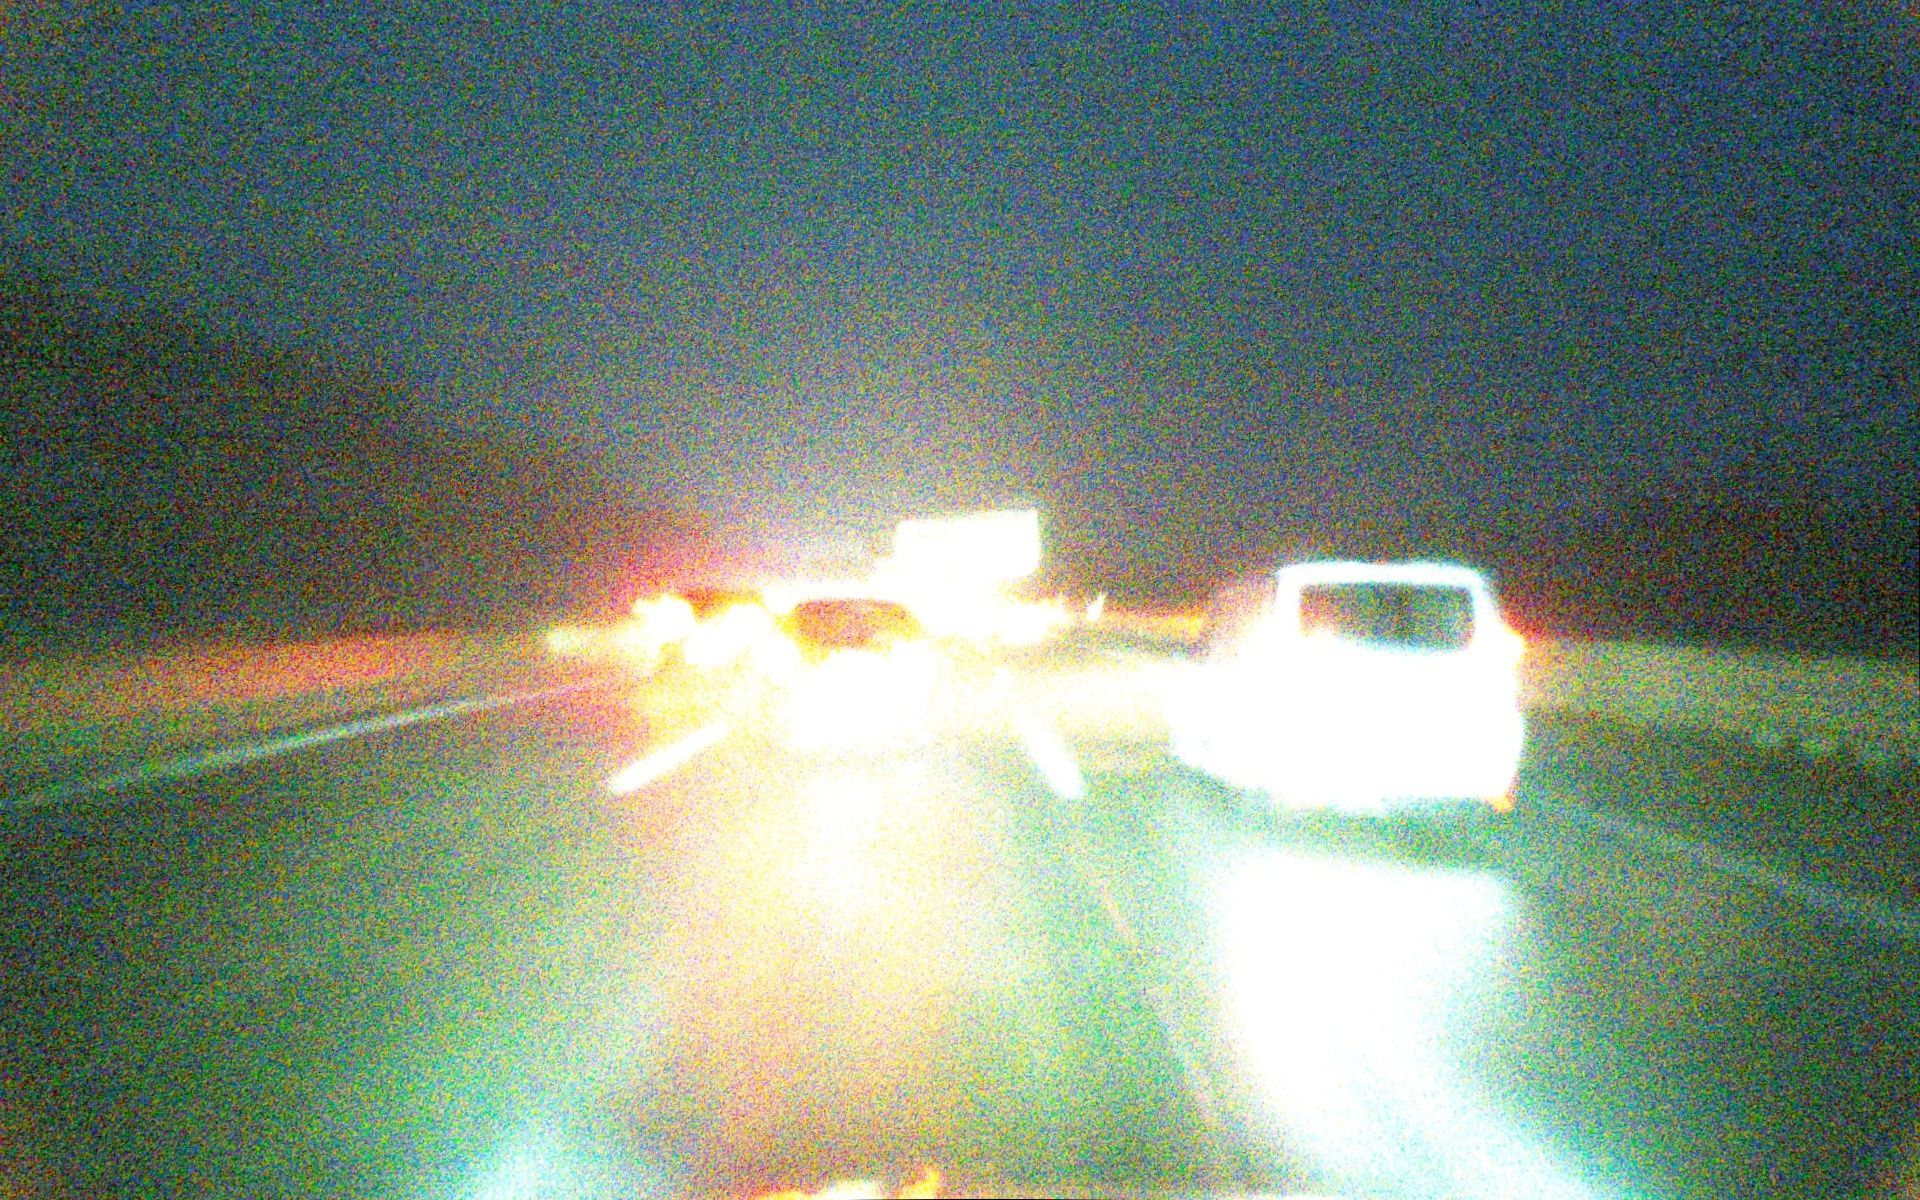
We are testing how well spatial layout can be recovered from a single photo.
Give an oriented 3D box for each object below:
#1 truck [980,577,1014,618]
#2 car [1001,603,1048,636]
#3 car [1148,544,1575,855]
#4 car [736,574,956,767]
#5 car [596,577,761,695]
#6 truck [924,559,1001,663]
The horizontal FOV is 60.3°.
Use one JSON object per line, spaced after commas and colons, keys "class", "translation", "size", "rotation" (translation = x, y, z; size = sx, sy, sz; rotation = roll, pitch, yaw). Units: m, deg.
{"class": "truck", "translation": [4.821, -0.201, 218.598], "size": [3.747, 5.000, 11.603], "rotation": [-4, -1, -1]}
{"class": "car", "translation": [2.868, 0.853, 74.207], "size": [1.851, 1.378, 3.999], "rotation": [2, 0, -1]}
{"class": "car", "translation": [2.733, 0.578, 12.600], "size": [1.913, 1.823, 5.124], "rotation": [-2, 1, -1]}
{"class": "car", "translation": [-1.010, 0.641, 16.615], "size": [1.877, 1.622, 4.232], "rotation": [-2, -1, 0]}
{"class": "car", "translation": [-4.758, 0.602, 28.684], "size": [1.953, 1.808, 4.886], "rotation": [-2, -1, 0]}
{"class": "truck", "translation": [0.074, 0.718, 98.617], "size": [4.083, 5.641, 13.071], "rotation": [-2, -1, -1]}
